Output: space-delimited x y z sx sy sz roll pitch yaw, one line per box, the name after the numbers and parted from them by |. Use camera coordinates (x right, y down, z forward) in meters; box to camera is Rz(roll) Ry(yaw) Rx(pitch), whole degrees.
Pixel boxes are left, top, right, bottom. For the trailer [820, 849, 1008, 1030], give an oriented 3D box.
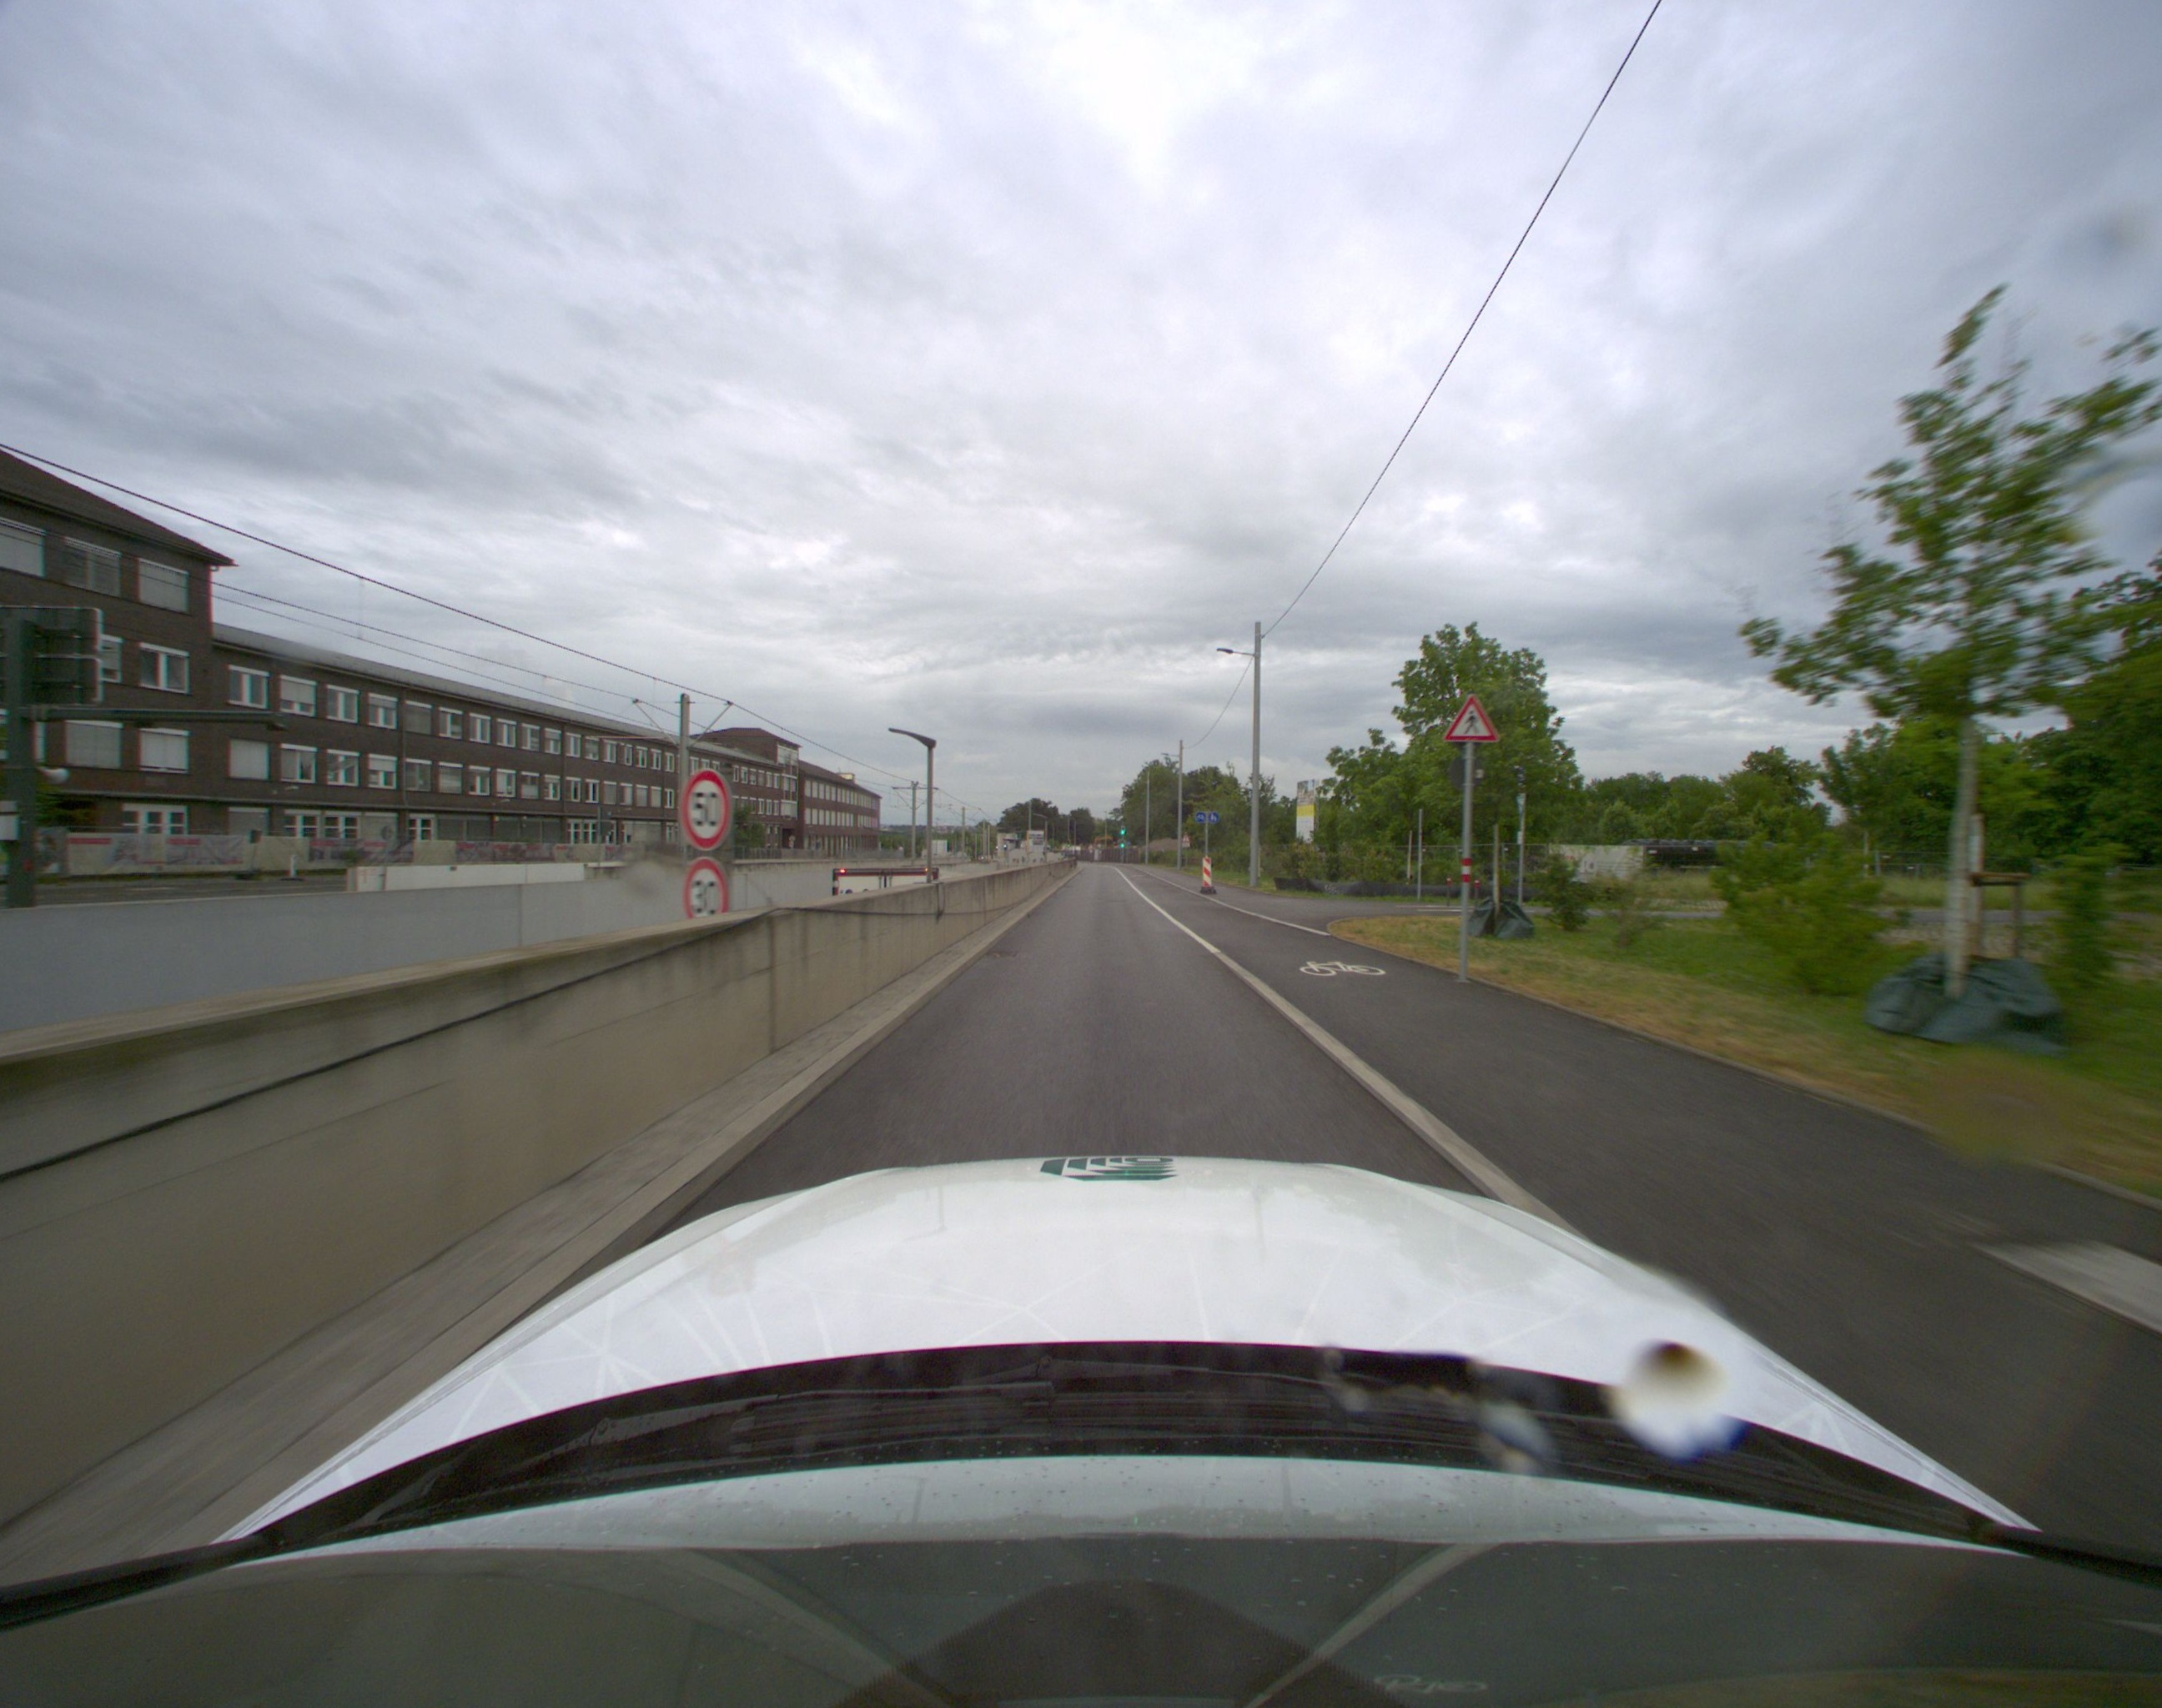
-4.569 2.004 25.966 2.752 4.252 13.189 -1 0 2 | trailer

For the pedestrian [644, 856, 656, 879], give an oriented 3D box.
-37.813 1.178 71.424 0.669 2.014 0.652 0 -1 -1 | pedestrian
